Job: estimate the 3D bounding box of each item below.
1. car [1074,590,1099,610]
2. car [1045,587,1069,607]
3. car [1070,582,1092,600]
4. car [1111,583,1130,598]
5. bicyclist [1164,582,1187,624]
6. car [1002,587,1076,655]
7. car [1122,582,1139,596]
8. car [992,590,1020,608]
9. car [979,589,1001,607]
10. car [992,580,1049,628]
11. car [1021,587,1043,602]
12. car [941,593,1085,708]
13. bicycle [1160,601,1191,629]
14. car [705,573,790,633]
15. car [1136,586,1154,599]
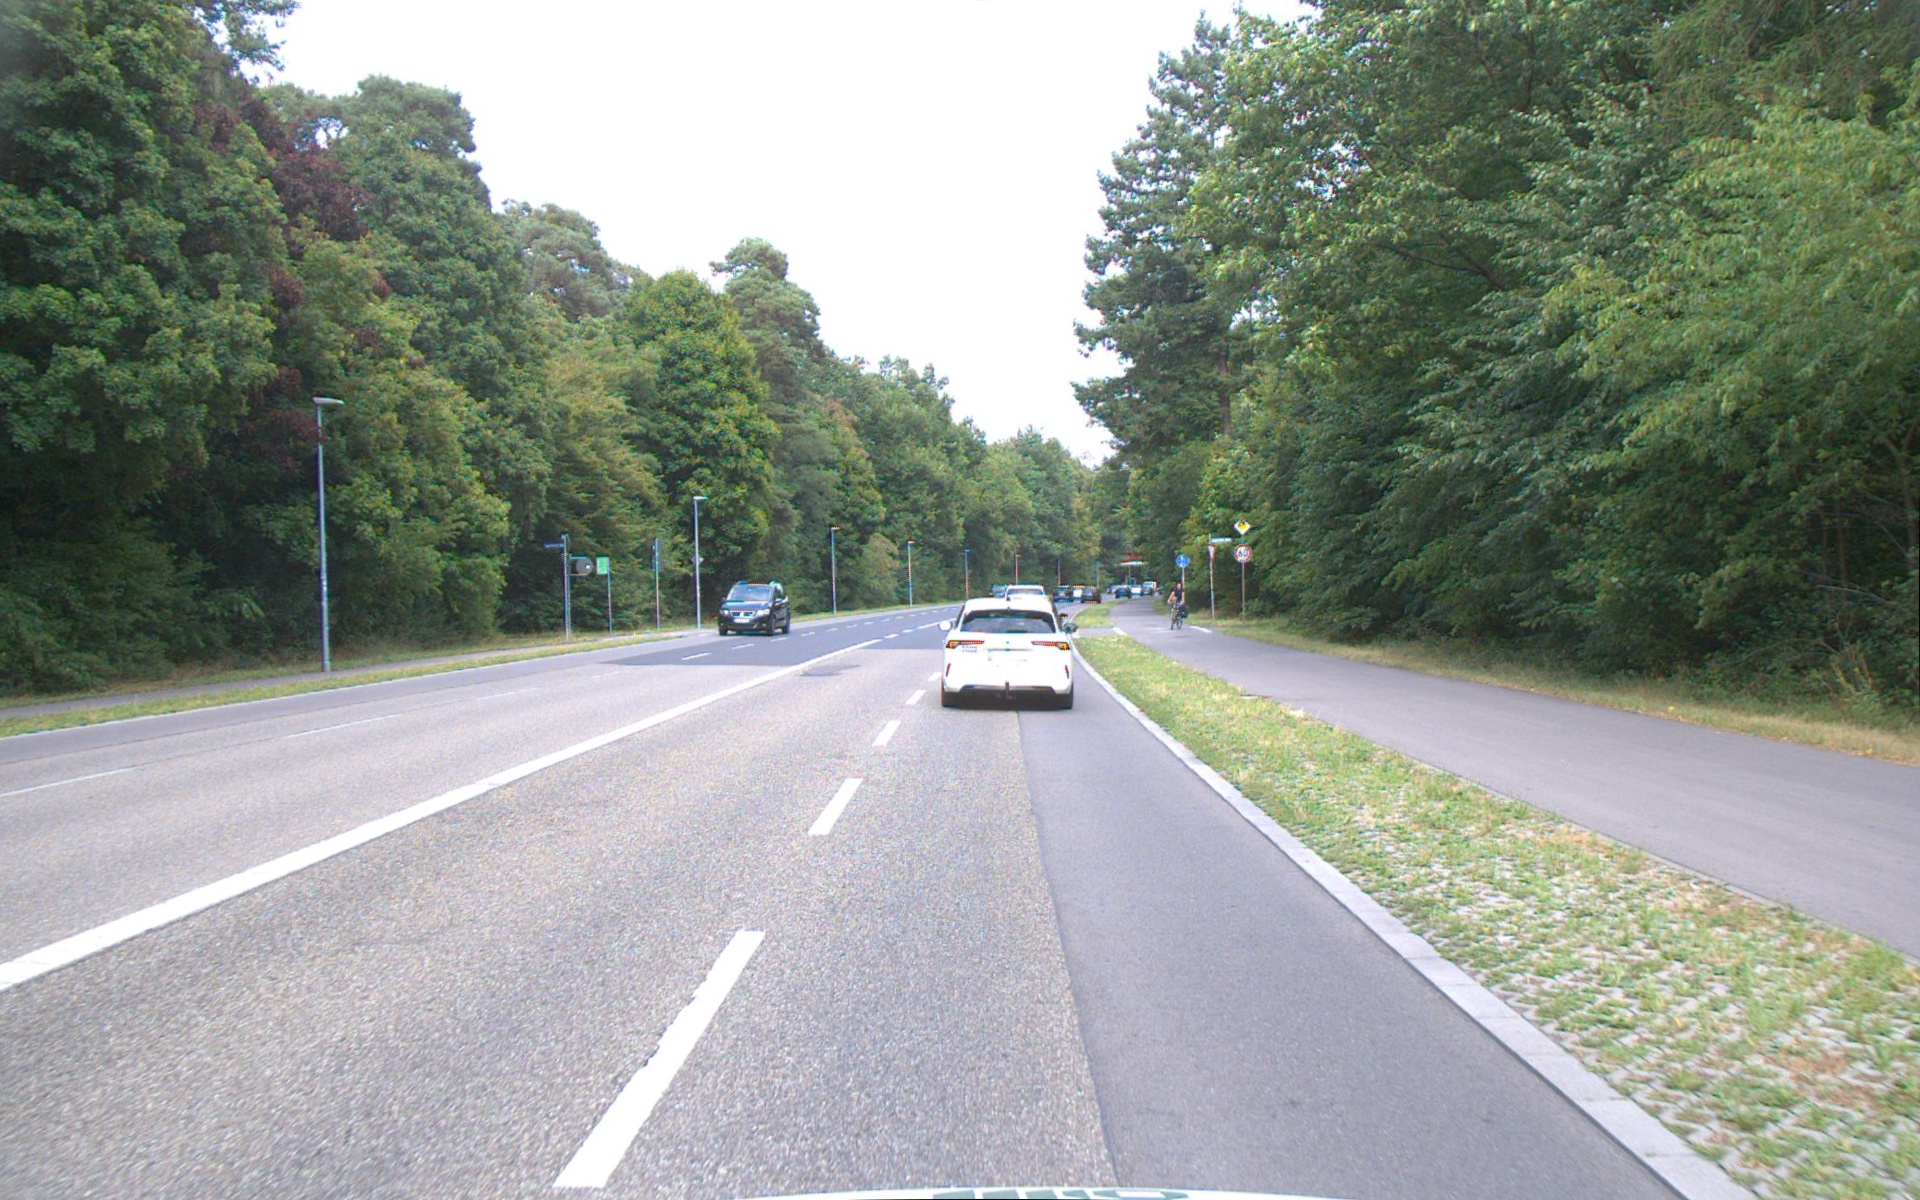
[{"bbox_3d":[12.012,-0.001,157.037,1.951,1.814,4.003,2,-1,9],"label":"car"},{"bbox_3d":[9.616,-0.306,163.981,1.951,1.814,4.003,2,-1,9],"label":"car"},{"bbox_3d":[13.310,-0.991,181.671,1.951,1.814,4.003,2,-1,11],"label":"car"},{"bbox_3d":[19.804,-1.172,204.242,1.951,1.814,4.003,2,-1,11],"label":"car"},{"bbox_3d":[7.825,0.102,60.057,0.694,1.496,0.902,0,0,15],"label":"bicyclist"},{"bbox_3d":[1.893,0.488,38.822,1.601,1.445,4.002,2,-1,4],"label":"car"},{"bbox_3d":[25.560,-1.638,248.243,1.848,1.847,4.002,2,-1,16],"label":"car"},{"bbox_3d":[4.063,-0.081,144.827,1.951,1.460,4.724,0,-1,8],"label":"car"},{"bbox_3d":[3.016,-0.151,163.808,1.882,1.684,4.472,1,-1,5],"label":"car"},{"bbox_3d":[2.164,0.160,60.269,1.952,1.635,4.000,2,-1,1],"label":"car"},{"bbox_3d":[8.356,-0.646,192.174,1.951,1.645,4.667,2,-1,9],"label":"car"},{"bbox_3d":[0.689,0.644,23.036,1.798,1.435,4.491,1,0,0],"label":"car"},{"bbox_3d":[7.833,0.531,60.067,0.694,1.011,2.182,0,0,18],"label":"bicycle"},{"bbox_3d":[-6.969,0.117,54.724,1.952,1.822,4.749,2,-1,2],"label":"car"},{"bbox_3d":[26.195,-1.077,234.104,1.951,1.735,4.003,0,0,13],"label":"car"}]
